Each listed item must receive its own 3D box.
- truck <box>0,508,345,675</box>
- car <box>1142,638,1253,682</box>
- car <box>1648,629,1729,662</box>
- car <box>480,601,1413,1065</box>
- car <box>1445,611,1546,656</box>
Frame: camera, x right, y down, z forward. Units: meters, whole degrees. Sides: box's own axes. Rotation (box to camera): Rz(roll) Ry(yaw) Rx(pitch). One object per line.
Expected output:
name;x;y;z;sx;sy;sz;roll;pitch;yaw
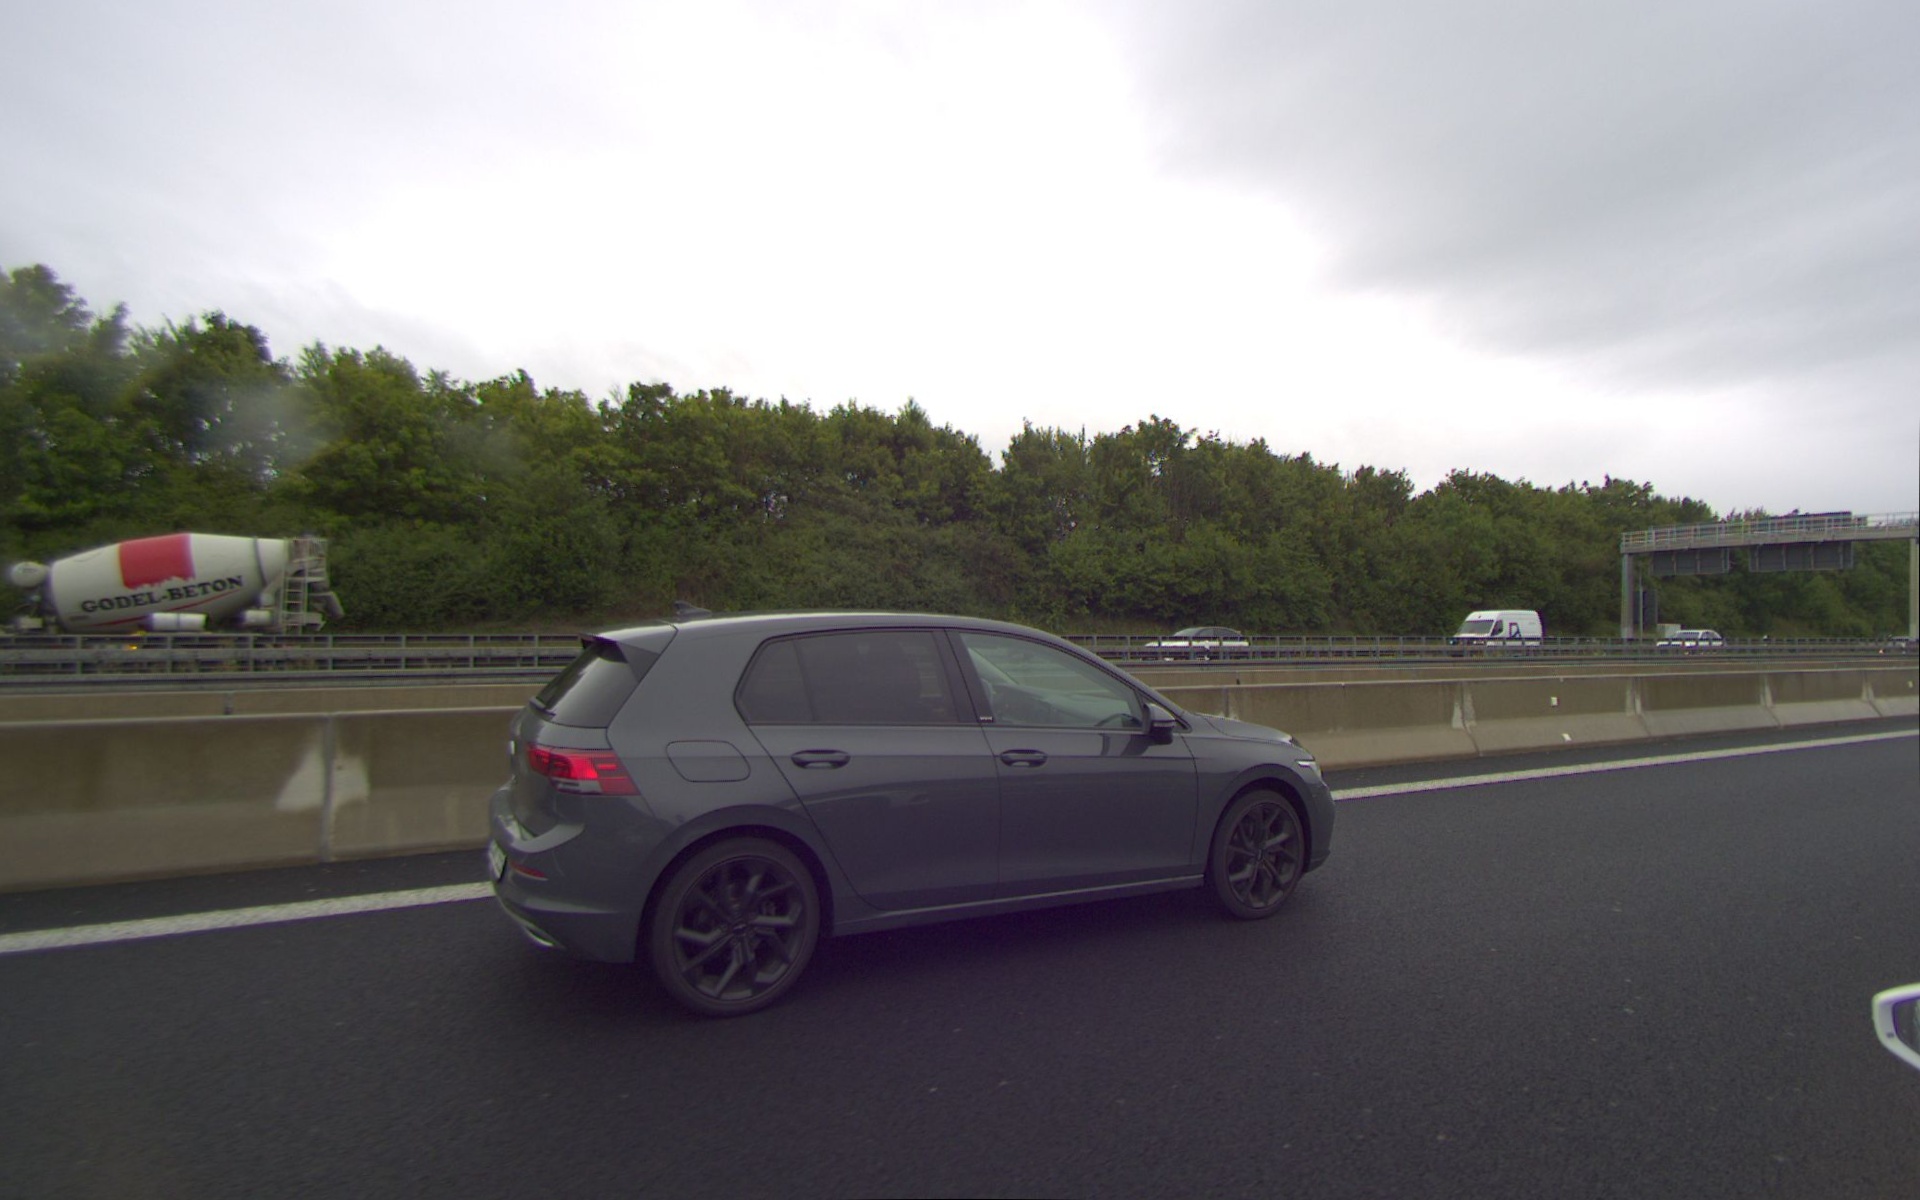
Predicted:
truck;-20.568;-0.138;24.393;9.446;3.709;2.672;1;-1;-31
car;8.629;2.160;36.475;3.870;1.444;1.583;2;0;-29
car;39.958;2.474;55.046;4.529;1.760;1.984;1;-1;-31
car;0.054;0.784;5.013;4.315;1.444;1.822;2;0;-29
car;27.951;1.718;52.382;5.648;2.243;1.984;1;-1;-30
